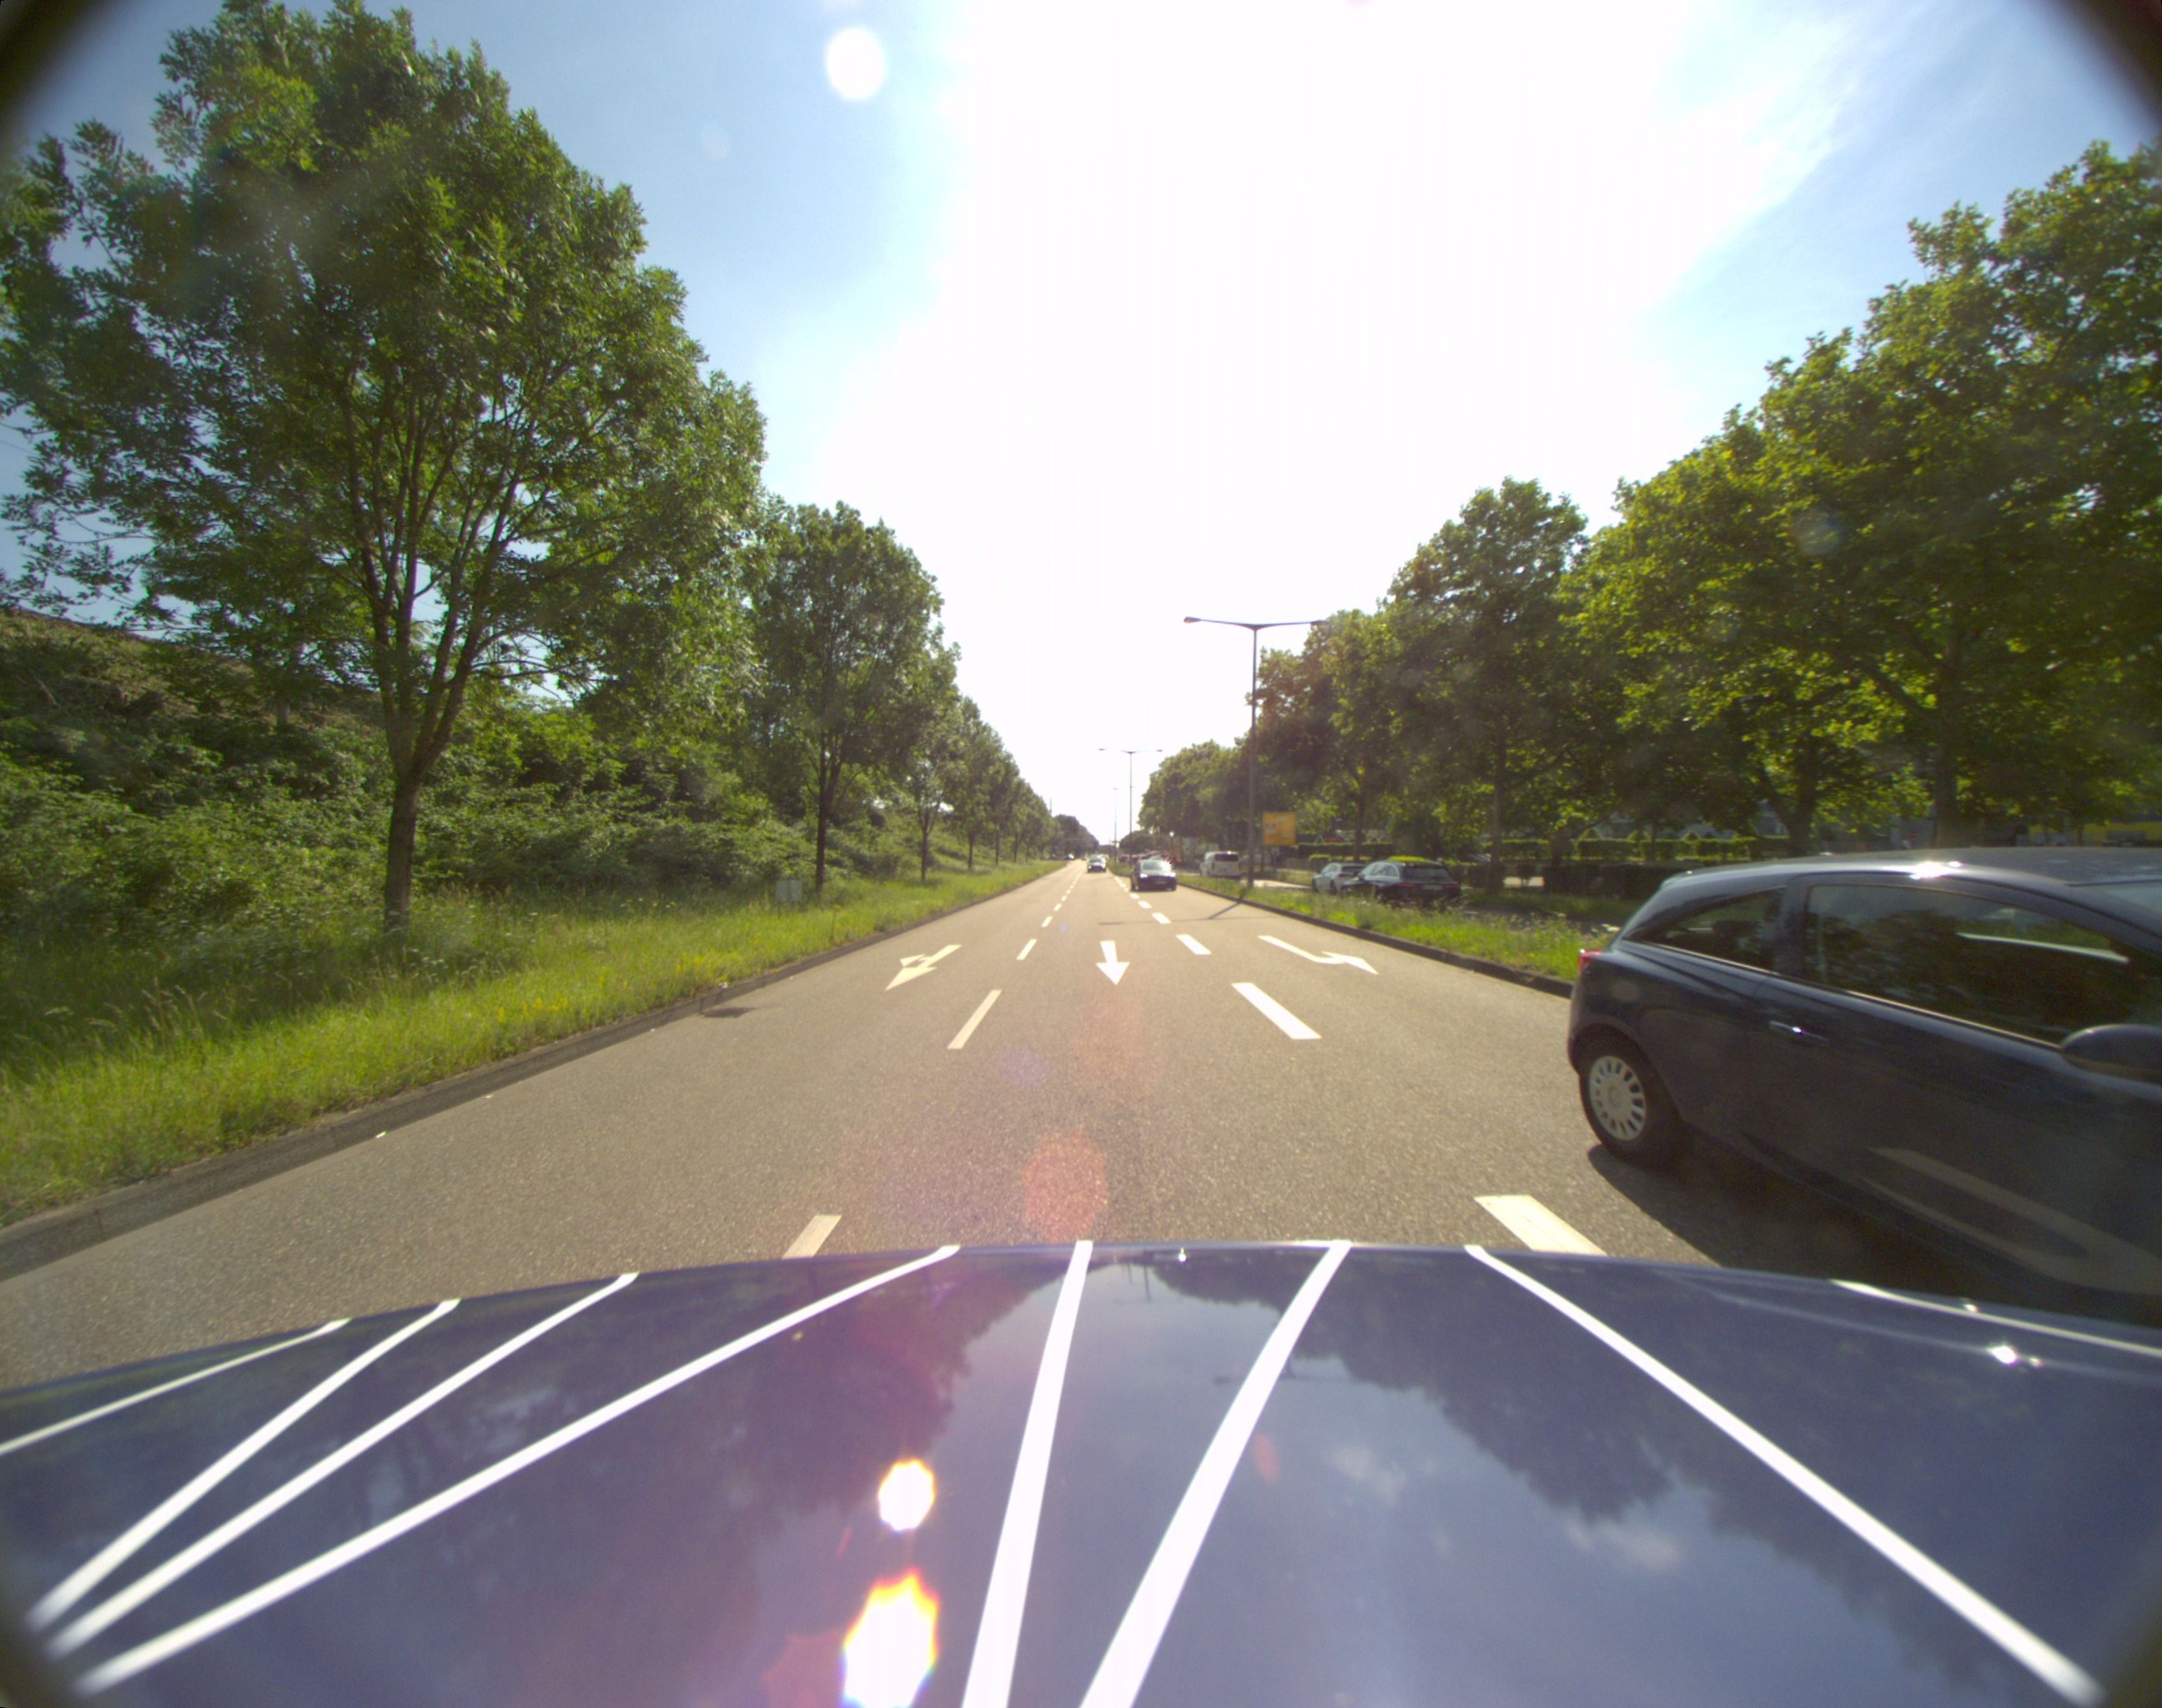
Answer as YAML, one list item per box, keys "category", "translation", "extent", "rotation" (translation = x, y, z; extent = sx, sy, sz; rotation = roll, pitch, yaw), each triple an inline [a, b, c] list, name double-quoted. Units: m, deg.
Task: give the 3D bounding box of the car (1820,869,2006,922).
- category: "car"
  translation: [26.889, 1.305, 24.656]
  extent: [3.997, 1.592, 1.869]
  rotation: [0, 0, 0]

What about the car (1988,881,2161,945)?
- category: "car"
  translation: [25.943, 1.451, 19.262]
  extent: [3.999, 1.406, 1.804]
  rotation: [-1, 1, -5]

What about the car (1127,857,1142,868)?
- category: "car"
  translation: [7.495, 1.180, 106.599]
  extent: [1.844, 1.470, 4.166]
  rotation: [0, 0, 1]

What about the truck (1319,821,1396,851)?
- category: "truck"
  translation: [33.932, -2.130, 93.638]
  extent: [2.678, 3.376, 8.965]
  rotation: [0, 0, -36]

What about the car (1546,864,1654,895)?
- category: "car"
  translation: [25.138, 1.219, 36.901]
  extent: [3.996, 1.456, 1.772]
  rotation: [0, 0, 1]

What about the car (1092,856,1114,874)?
- category: "car"
  translation: [2.085, 1.040, 73.844]
  extent: [1.998, 1.699, 4.431]
  rotation: [0, 0, 0]

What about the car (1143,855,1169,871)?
- category: "car"
  translation: [6.964, 0.815, 71.032]
  extent: [1.773, 1.460, 4.282]
  rotation: [0, 0, -2]

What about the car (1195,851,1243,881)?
- category: "car"
  translation: [9.078, 0.785, 50.443]
  extent: [2.122, 1.872, 5.419]
  rotation: [0, 0, 0]

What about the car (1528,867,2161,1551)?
- category: "car"
  translation: [3.254, 0.826, 2.099]
  extent: [1.630, 1.474, 4.048]
  rotation: [-2, 0, 0]

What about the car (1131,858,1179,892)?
- category: "car"
  translation: [3.503, 0.965, 36.632]
  extent: [1.826, 1.497, 4.216]
  rotation: [-2, 0, 0]

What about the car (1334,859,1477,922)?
- category: "car"
  translation: [8.765, 0.919, 21.065]
  extent: [1.998, 1.522, 4.682]
  rotation: [1, 0, 1]

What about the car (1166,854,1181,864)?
- category: "car"
  translation: [13.605, 0.696, 112.336]
  extent: [1.768, 1.454, 4.000]
  rotation: [1, 0, 1]

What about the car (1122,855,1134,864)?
- category: "car"
  translation: [7.943, 0.855, 128.787]
  extent: [1.777, 1.459, 4.671]
  rotation: [1, 0, 1]

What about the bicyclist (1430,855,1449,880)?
- category: "bicyclist"
  translation: [21.512, 0.801, 45.557]
  extent: [0.683, 1.476, 0.942]
  rotation: [0, 1, 1]

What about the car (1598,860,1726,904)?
- category: "car"
  translation: [25.651, 1.209, 33.686]
  extent: [3.995, 1.812, 2.157]
  rotation: [-1, 1, 4]

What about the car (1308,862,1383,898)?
- category: "car"
  translation: [11.537, 1.079, 33.474]
  extent: [1.791, 1.390, 4.358]
  rotation: [1, 0, 1]
